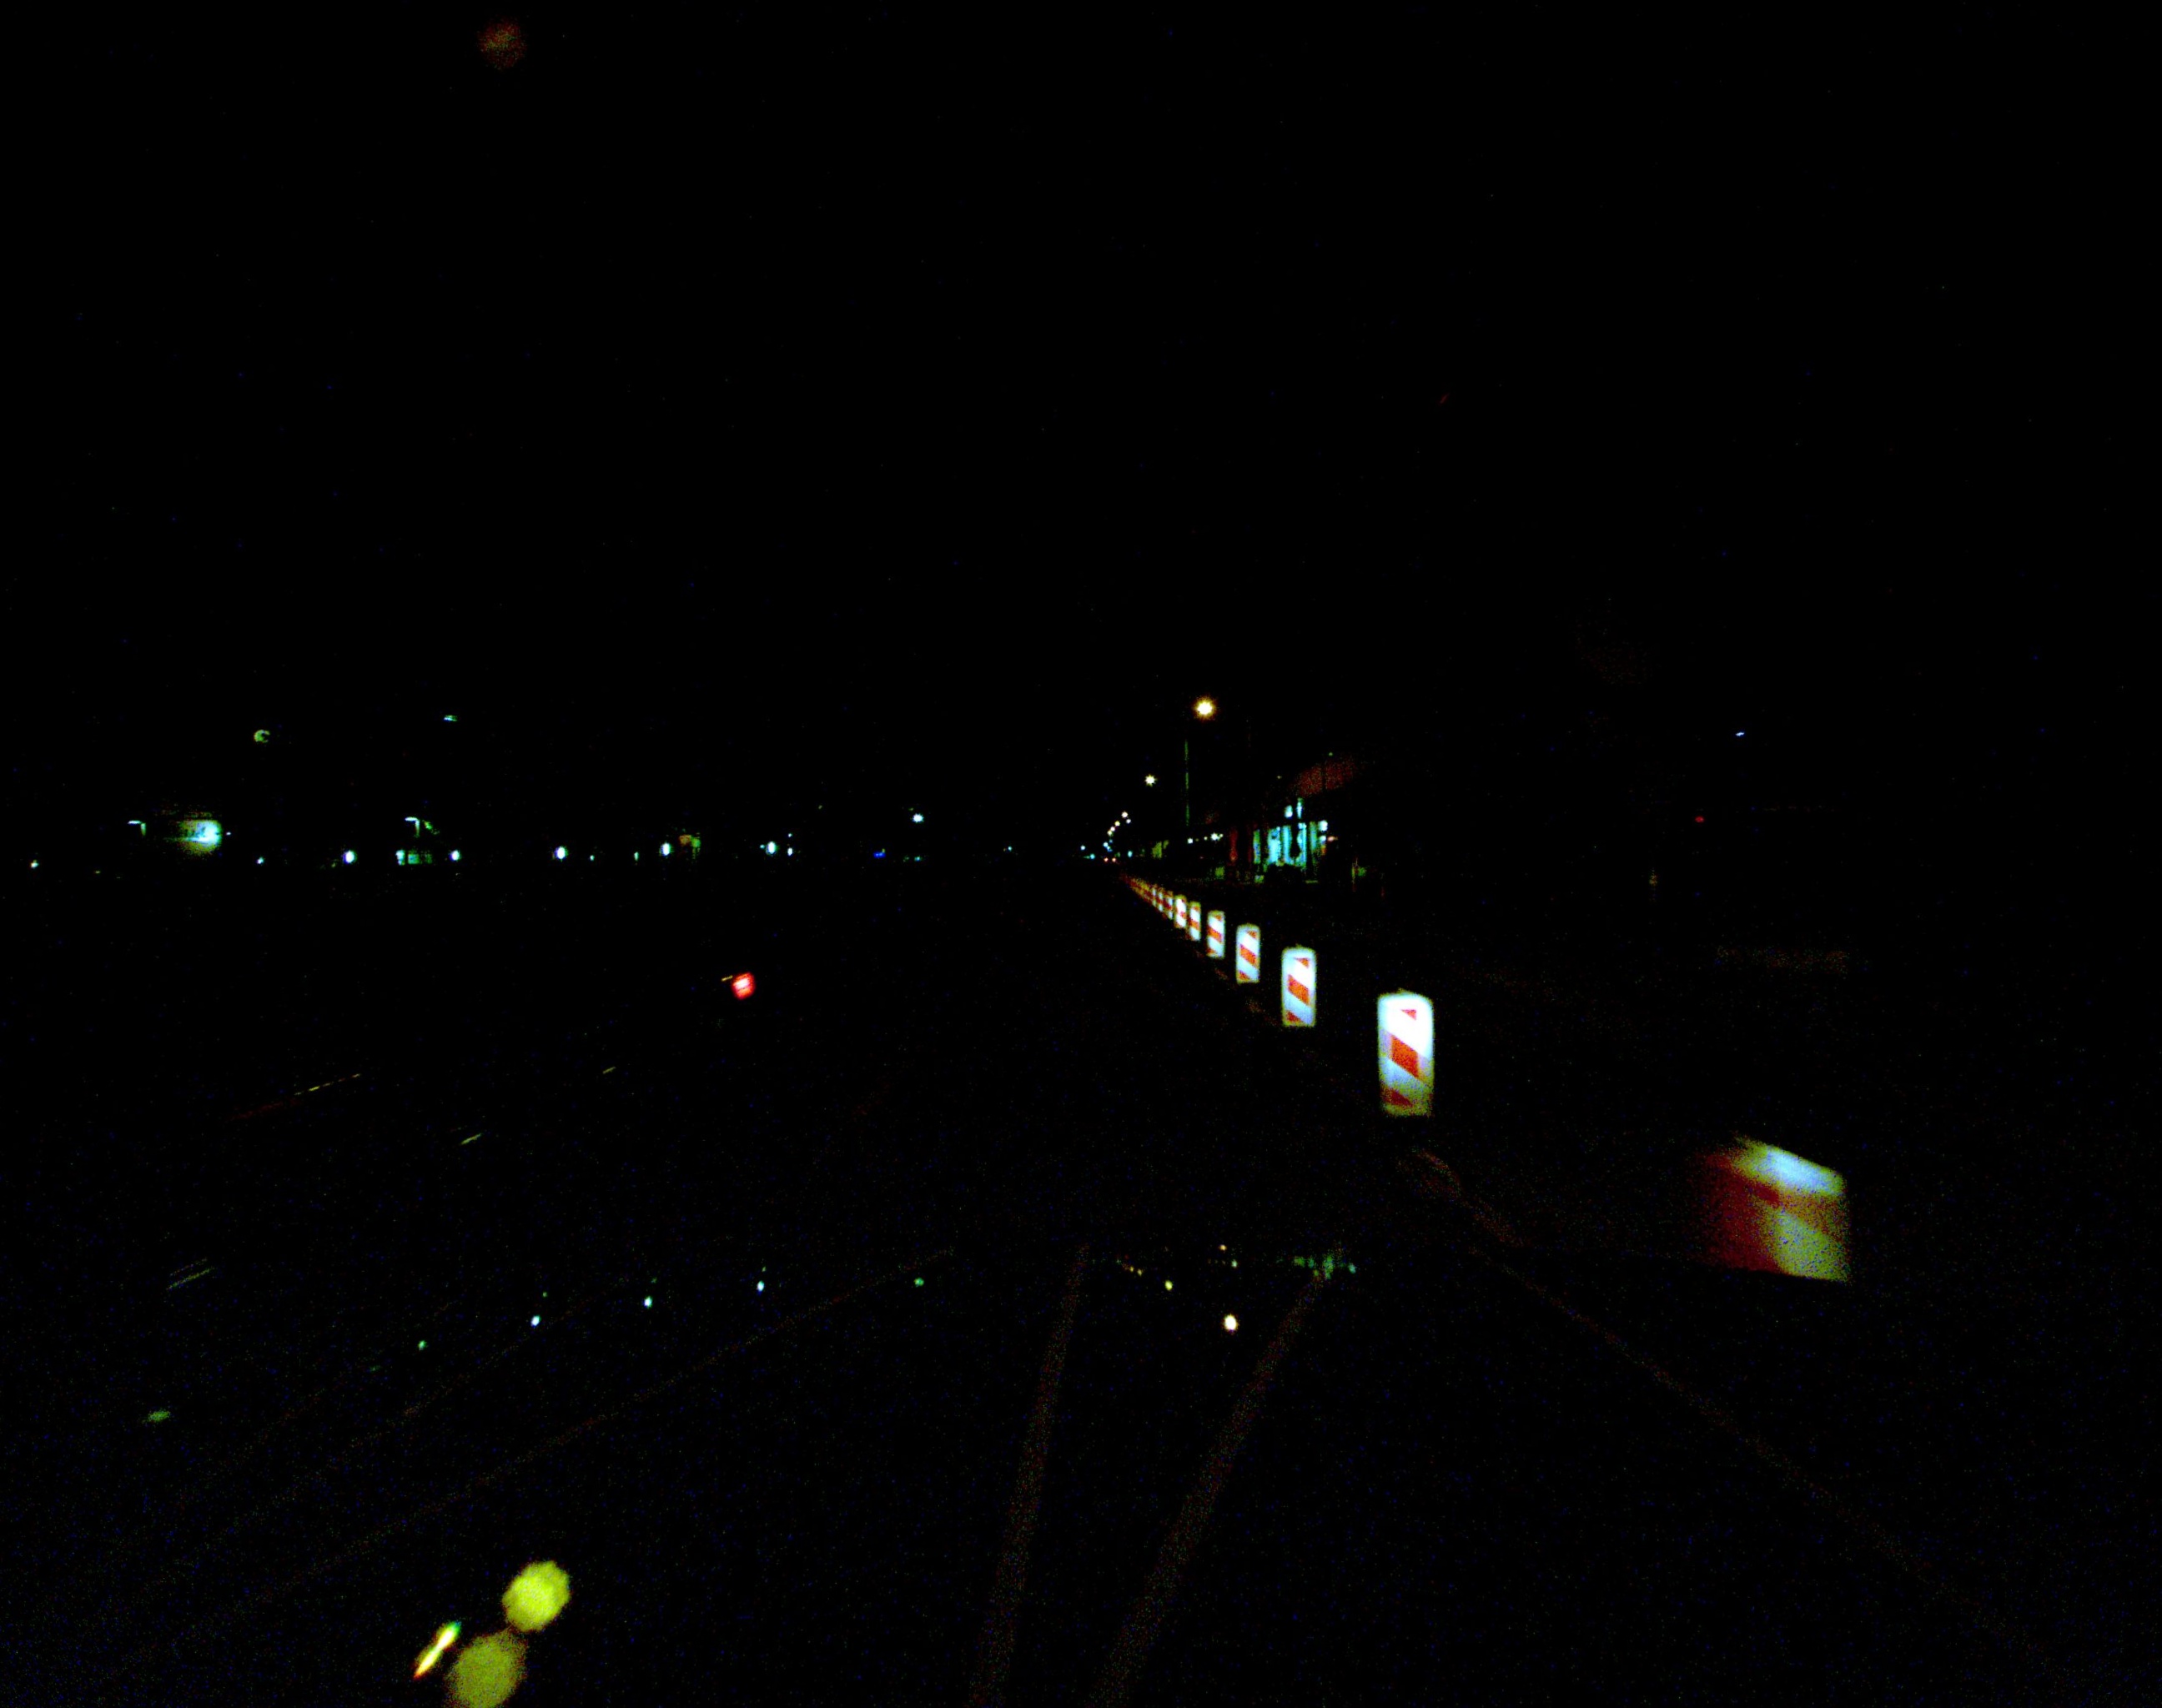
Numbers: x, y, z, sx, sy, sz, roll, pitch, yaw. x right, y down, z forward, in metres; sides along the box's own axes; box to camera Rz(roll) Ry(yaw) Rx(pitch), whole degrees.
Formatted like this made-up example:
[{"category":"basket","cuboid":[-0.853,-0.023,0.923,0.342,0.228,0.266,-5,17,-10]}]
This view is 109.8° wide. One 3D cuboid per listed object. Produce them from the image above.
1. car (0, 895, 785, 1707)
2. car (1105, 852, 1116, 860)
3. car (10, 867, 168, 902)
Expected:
[{"category":"car","cuboid":[-2.788,1.045,2.210,1.809,1.485,4.730,-3,0,2]},{"category":"car","cuboid":[4.961,0.343,129.312,1.671,1.420,4.000,1,0,0]},{"category":"car","cuboid":[-48.224,1.445,37.105,1.998,1.499,4.301,0,0,1]}]
